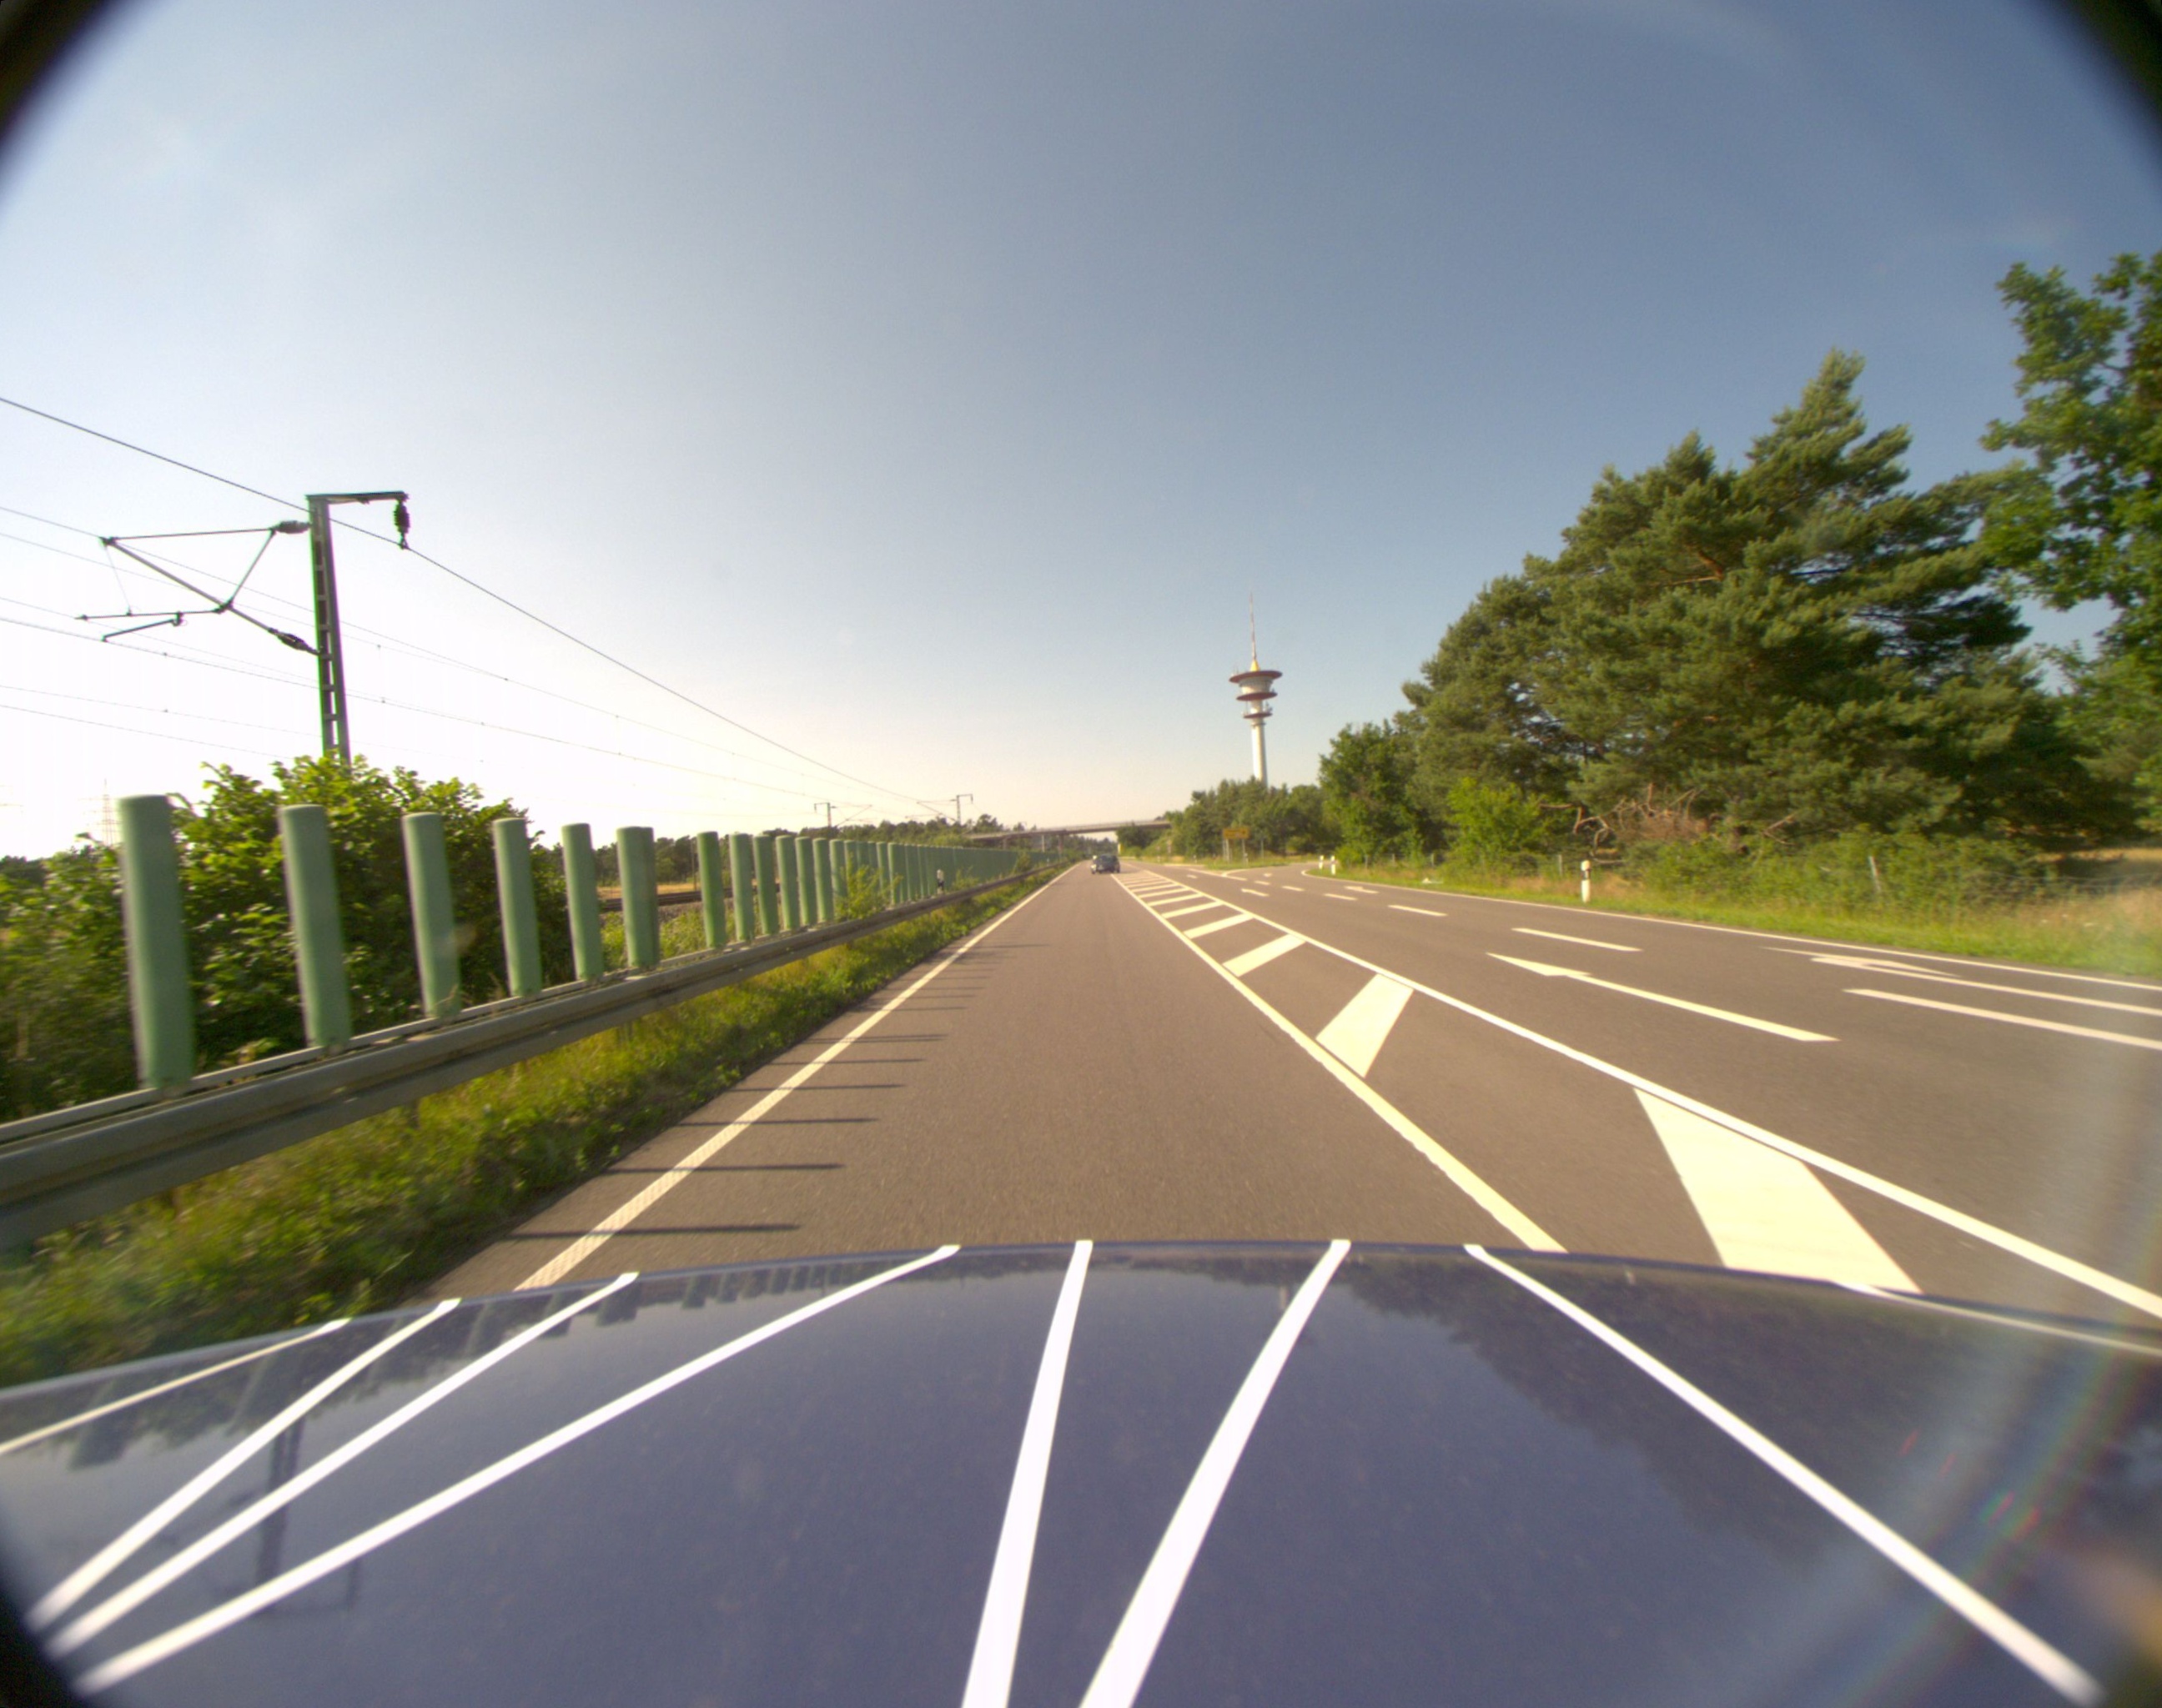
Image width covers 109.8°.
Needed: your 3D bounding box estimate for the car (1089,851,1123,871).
[{"bbox_3d":[2.084,0.551,61.775,1.867,1.533,4.080,-1,0,15],"label":"car"}]
